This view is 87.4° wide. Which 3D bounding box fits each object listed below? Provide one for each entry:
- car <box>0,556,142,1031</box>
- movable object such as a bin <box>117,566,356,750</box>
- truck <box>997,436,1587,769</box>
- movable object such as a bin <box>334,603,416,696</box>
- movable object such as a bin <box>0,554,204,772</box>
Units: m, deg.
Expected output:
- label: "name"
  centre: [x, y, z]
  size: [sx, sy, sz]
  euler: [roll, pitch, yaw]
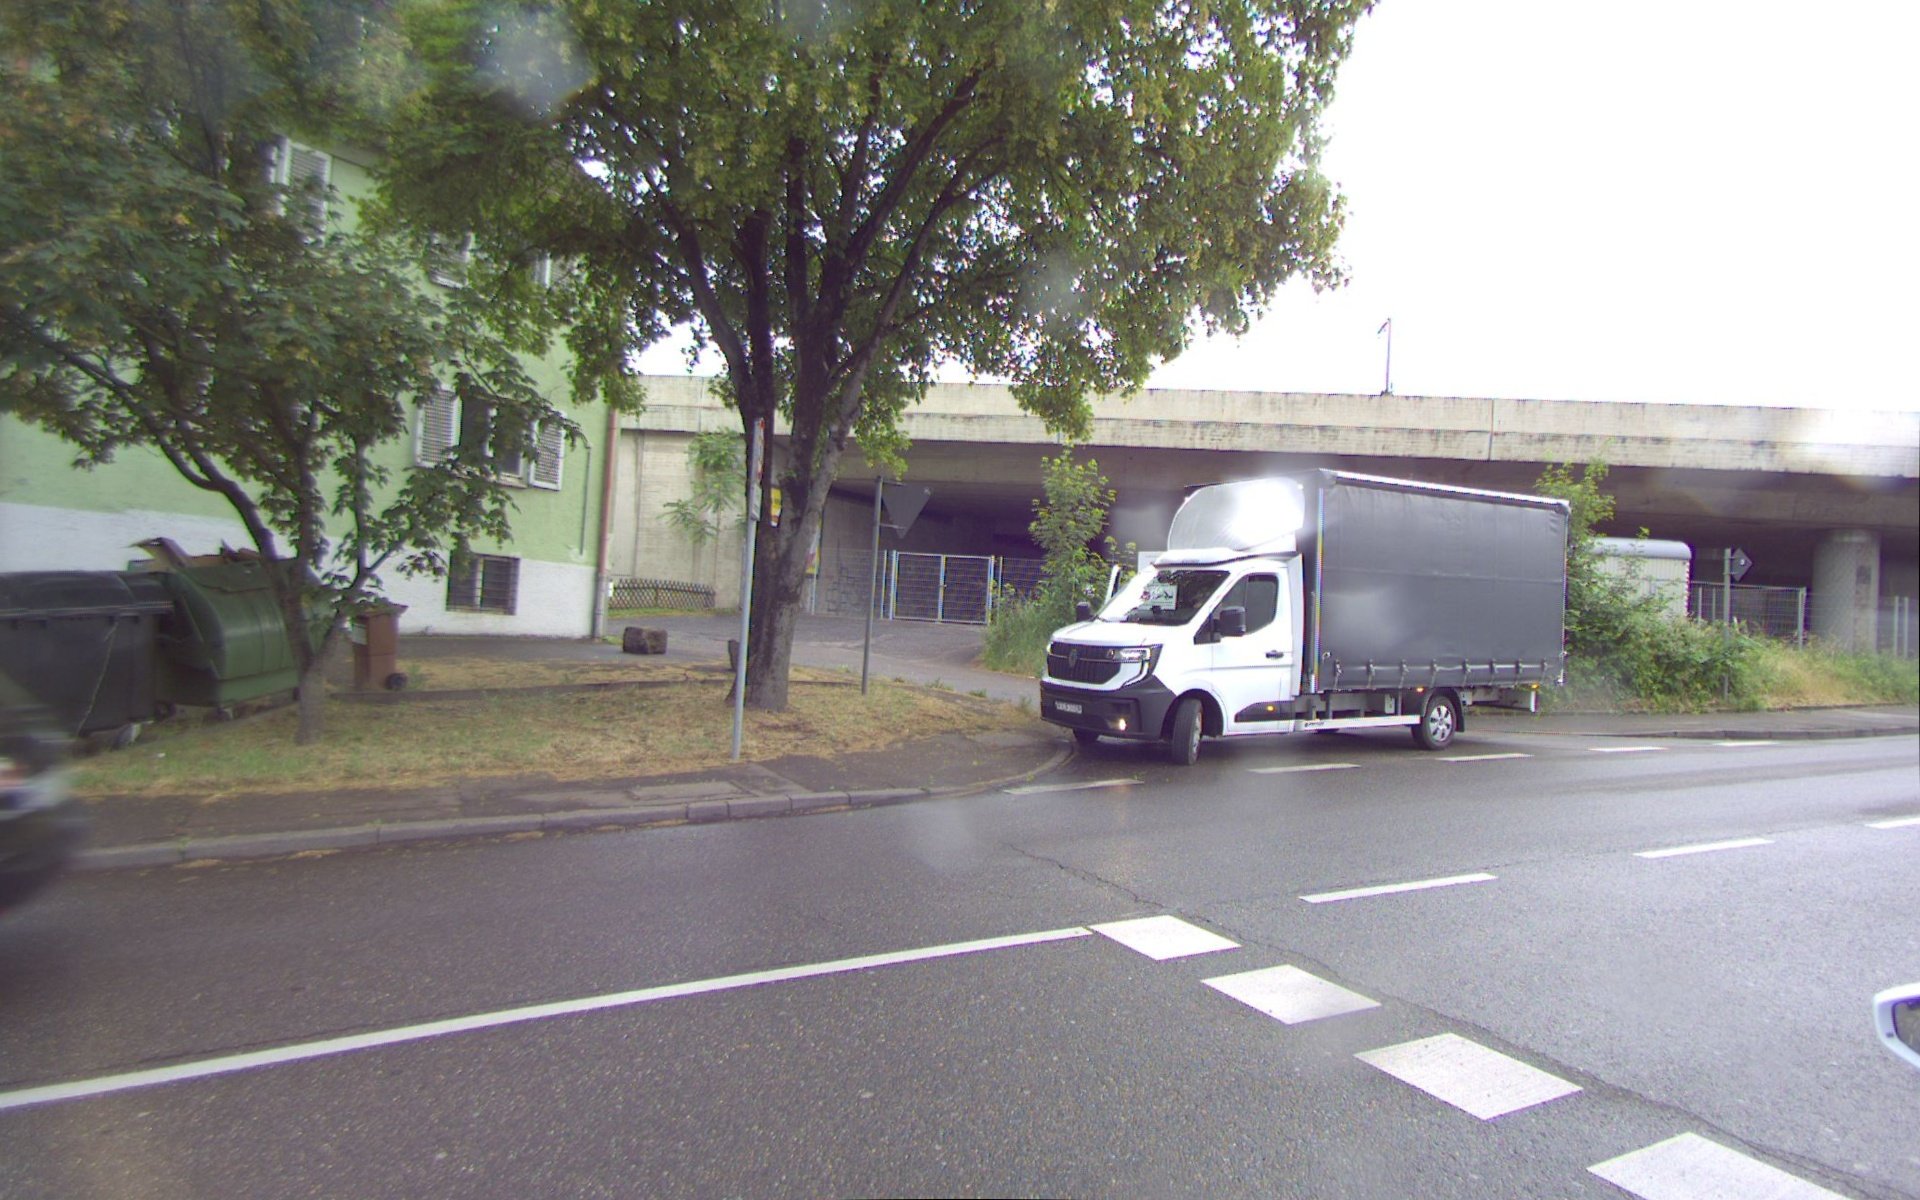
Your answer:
- label: "car"
  centre: [-5.481, 0.581, 3.050]
  size: [4.362, 1.590, 1.832]
  euler: [2, -1, -31]
- label: "movable object such as a bin"
  centre: [-6.720, 0.471, 9.429]
  size: [1.078, 1.457, 1.463]
  euler: [5, 5, 13]
- label: "truck"
  centre: [4.470, 0.179, 12.865]
  size: [7.681, 3.279, 2.599]
  euler: [3, -1, -29]
- label: "movable object such as a bin"
  centre: [-6.345, 0.532, 10.911]
  size: [0.715, 0.970, 0.554]
  euler: [3, -1, -30]
- label: "movable object such as a bin"
  centre: [-7.287, 0.418, 8.065]
  size: [1.268, 1.457, 1.463]
  euler: [5, 5, 13]
